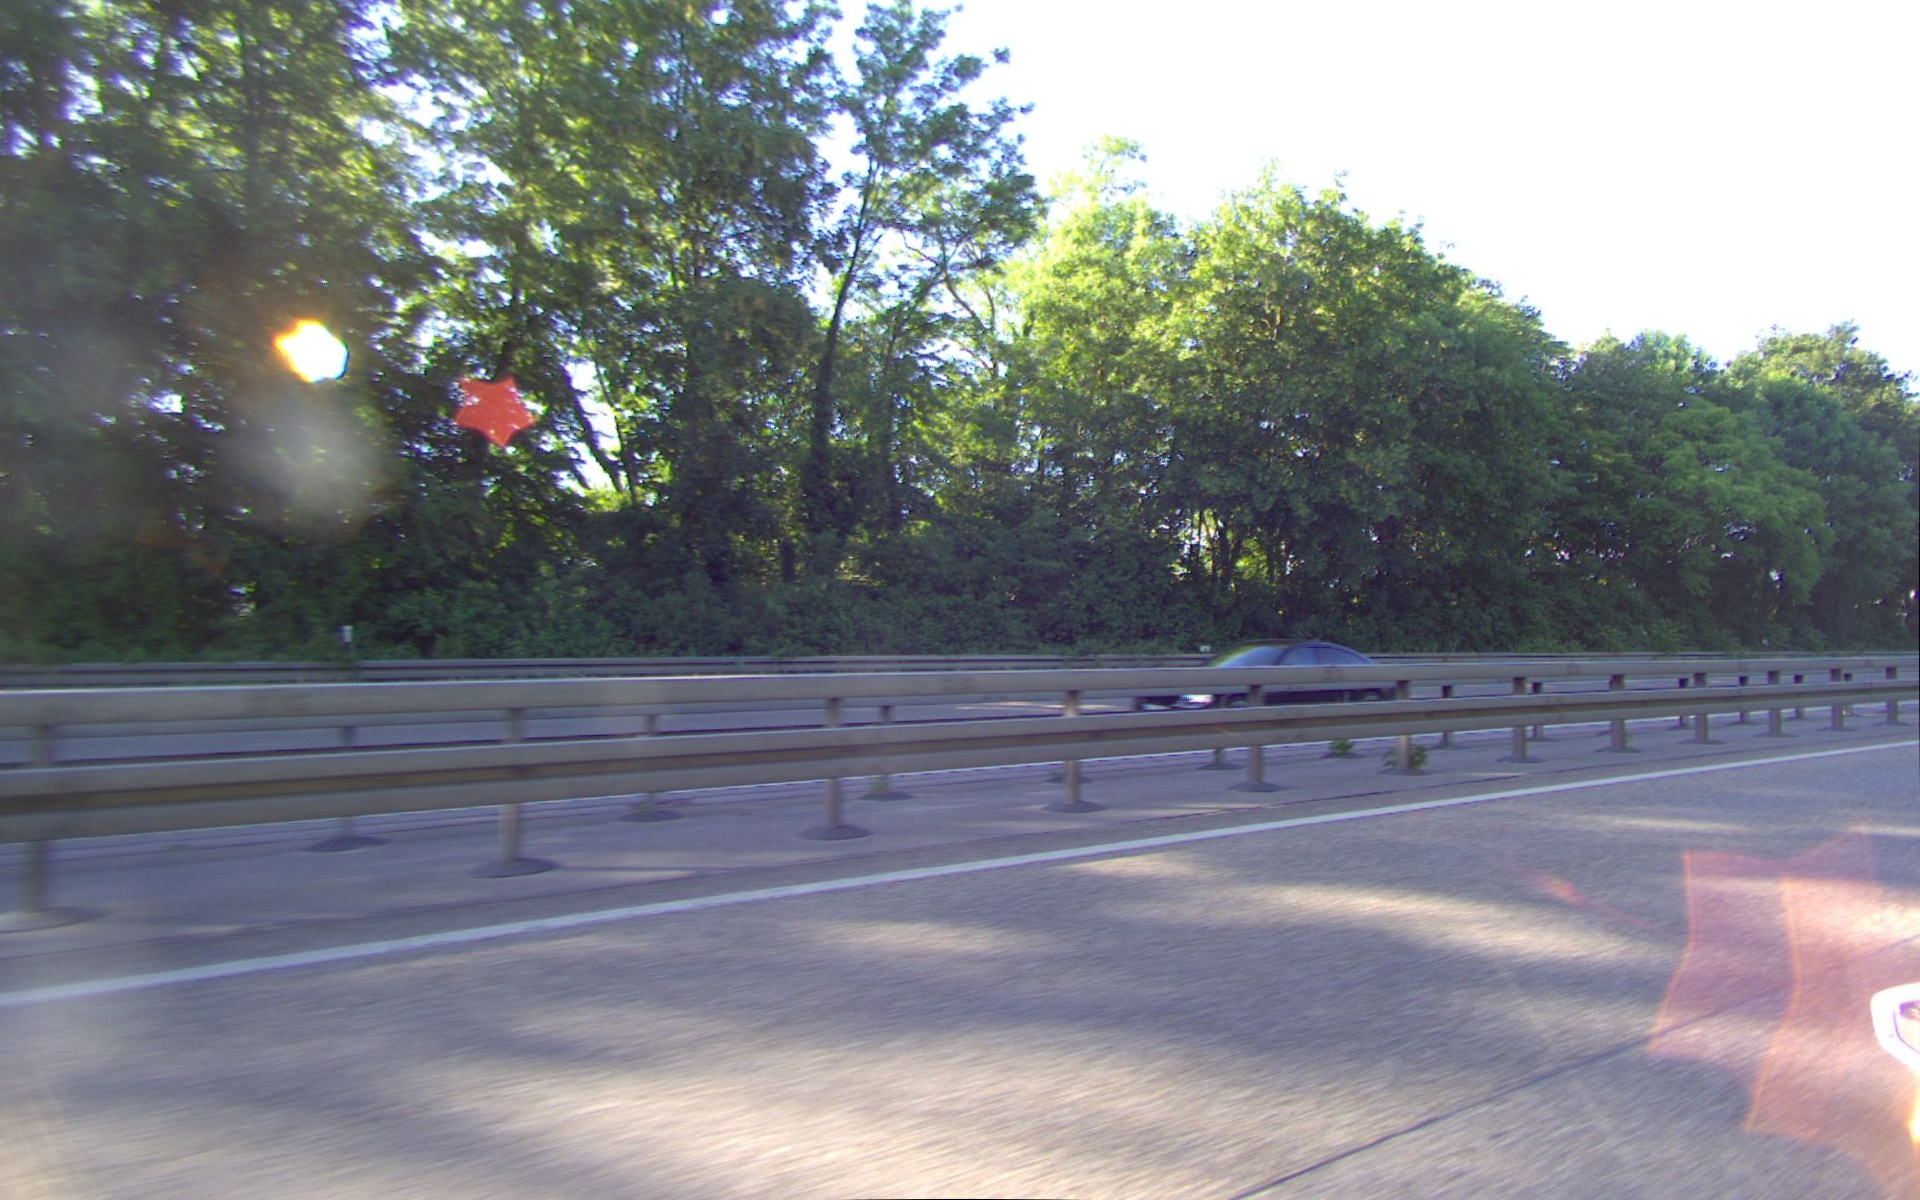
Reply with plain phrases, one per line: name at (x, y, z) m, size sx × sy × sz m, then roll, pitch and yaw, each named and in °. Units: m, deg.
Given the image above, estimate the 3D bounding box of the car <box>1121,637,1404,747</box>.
car at (4.644, 1.316, 15.263) m, size 4.293 × 1.472 × 1.591 m, roll 1°, pitch -3°, yaw -30°
